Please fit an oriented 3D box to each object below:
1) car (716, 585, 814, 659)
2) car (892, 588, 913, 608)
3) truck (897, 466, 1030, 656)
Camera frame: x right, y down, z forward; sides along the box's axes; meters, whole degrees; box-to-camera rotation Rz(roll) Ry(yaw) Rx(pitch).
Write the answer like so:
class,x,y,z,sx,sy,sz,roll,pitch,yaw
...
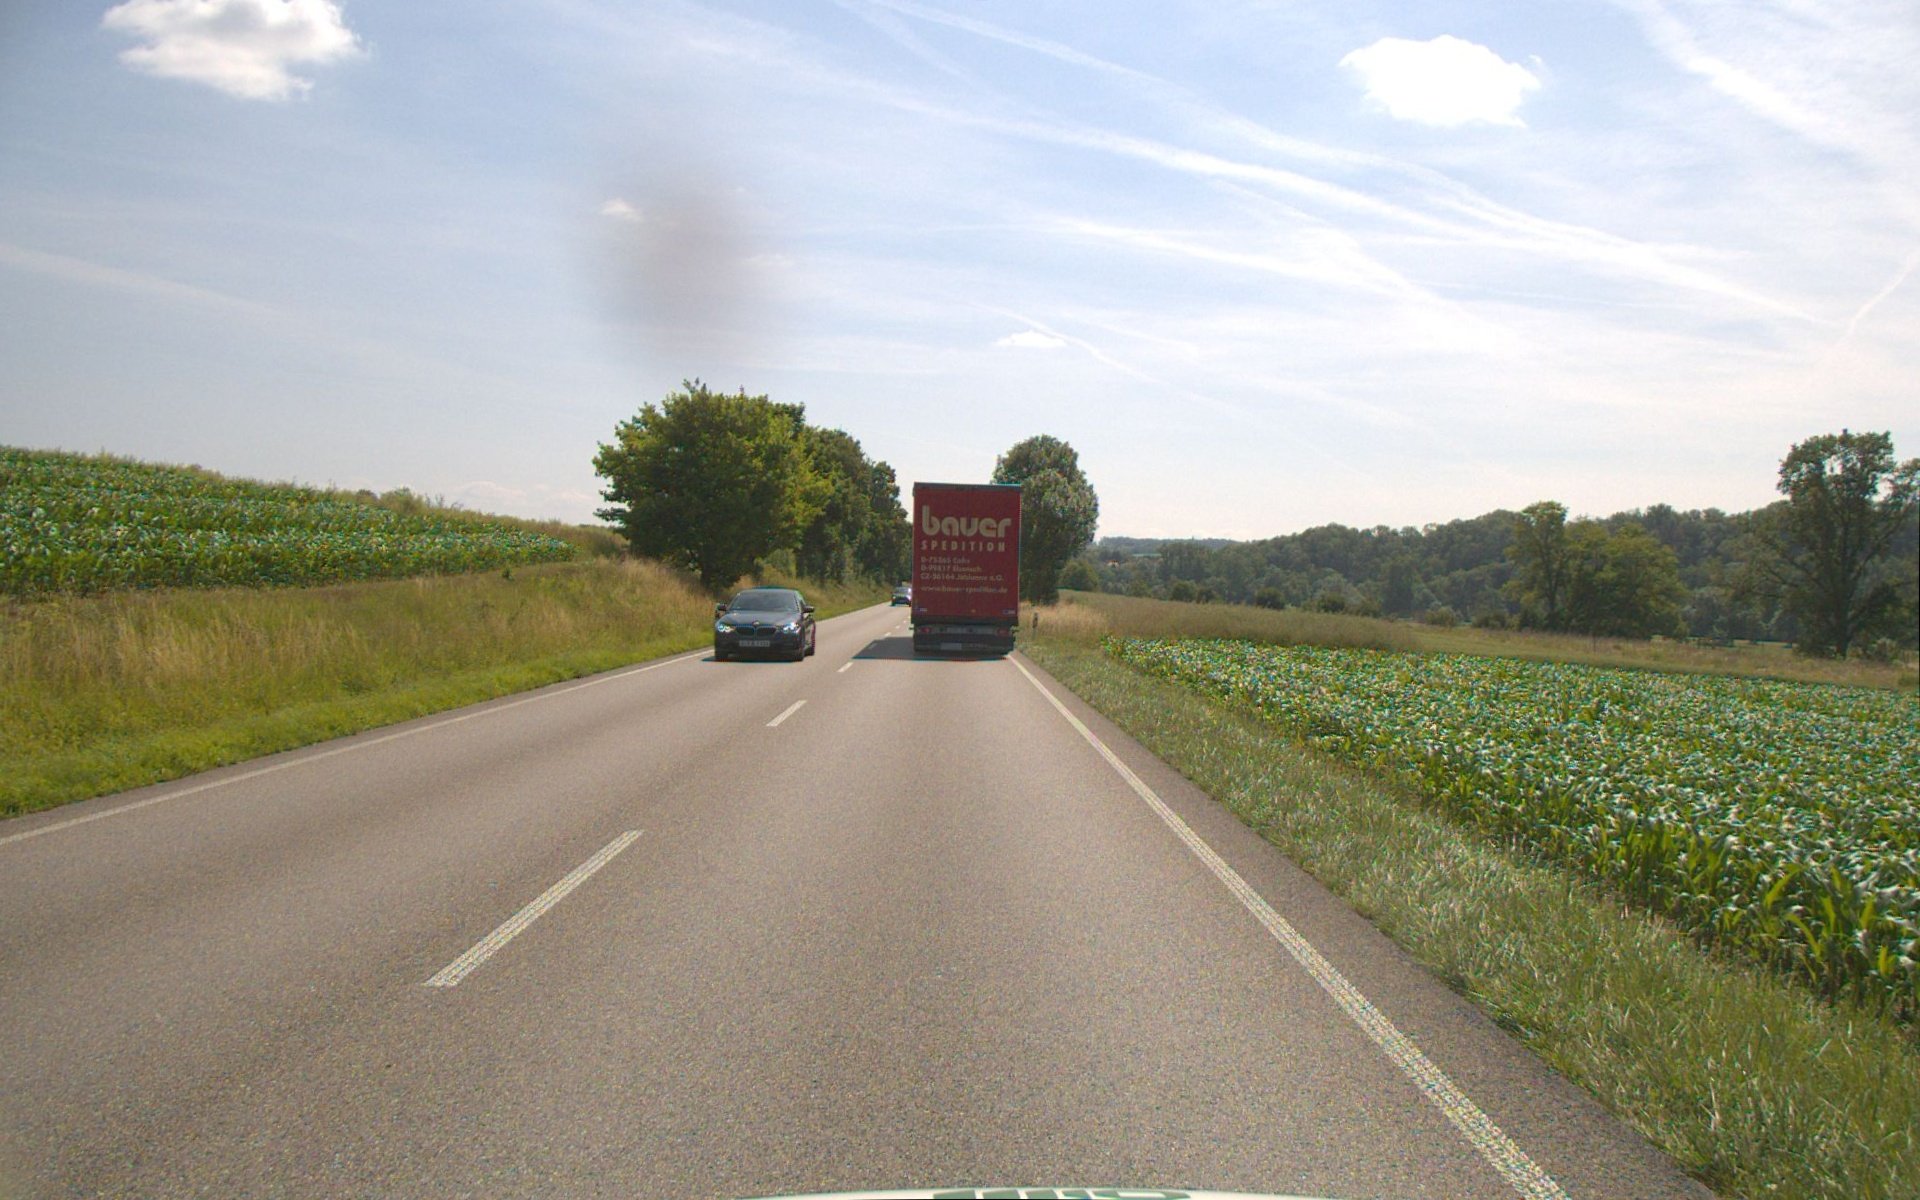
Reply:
class,x,y,z,sx,sy,sz,roll,pitch,yaw
car,-4.135,0.419,35.613,1.639,1.482,4.350,1,1,-1
car,-4.745,-0.133,136.795,1.622,1.561,4.357,2,0,0
truck,0.182,-0.876,42.165,3.030,4.337,8.315,0,0,1
